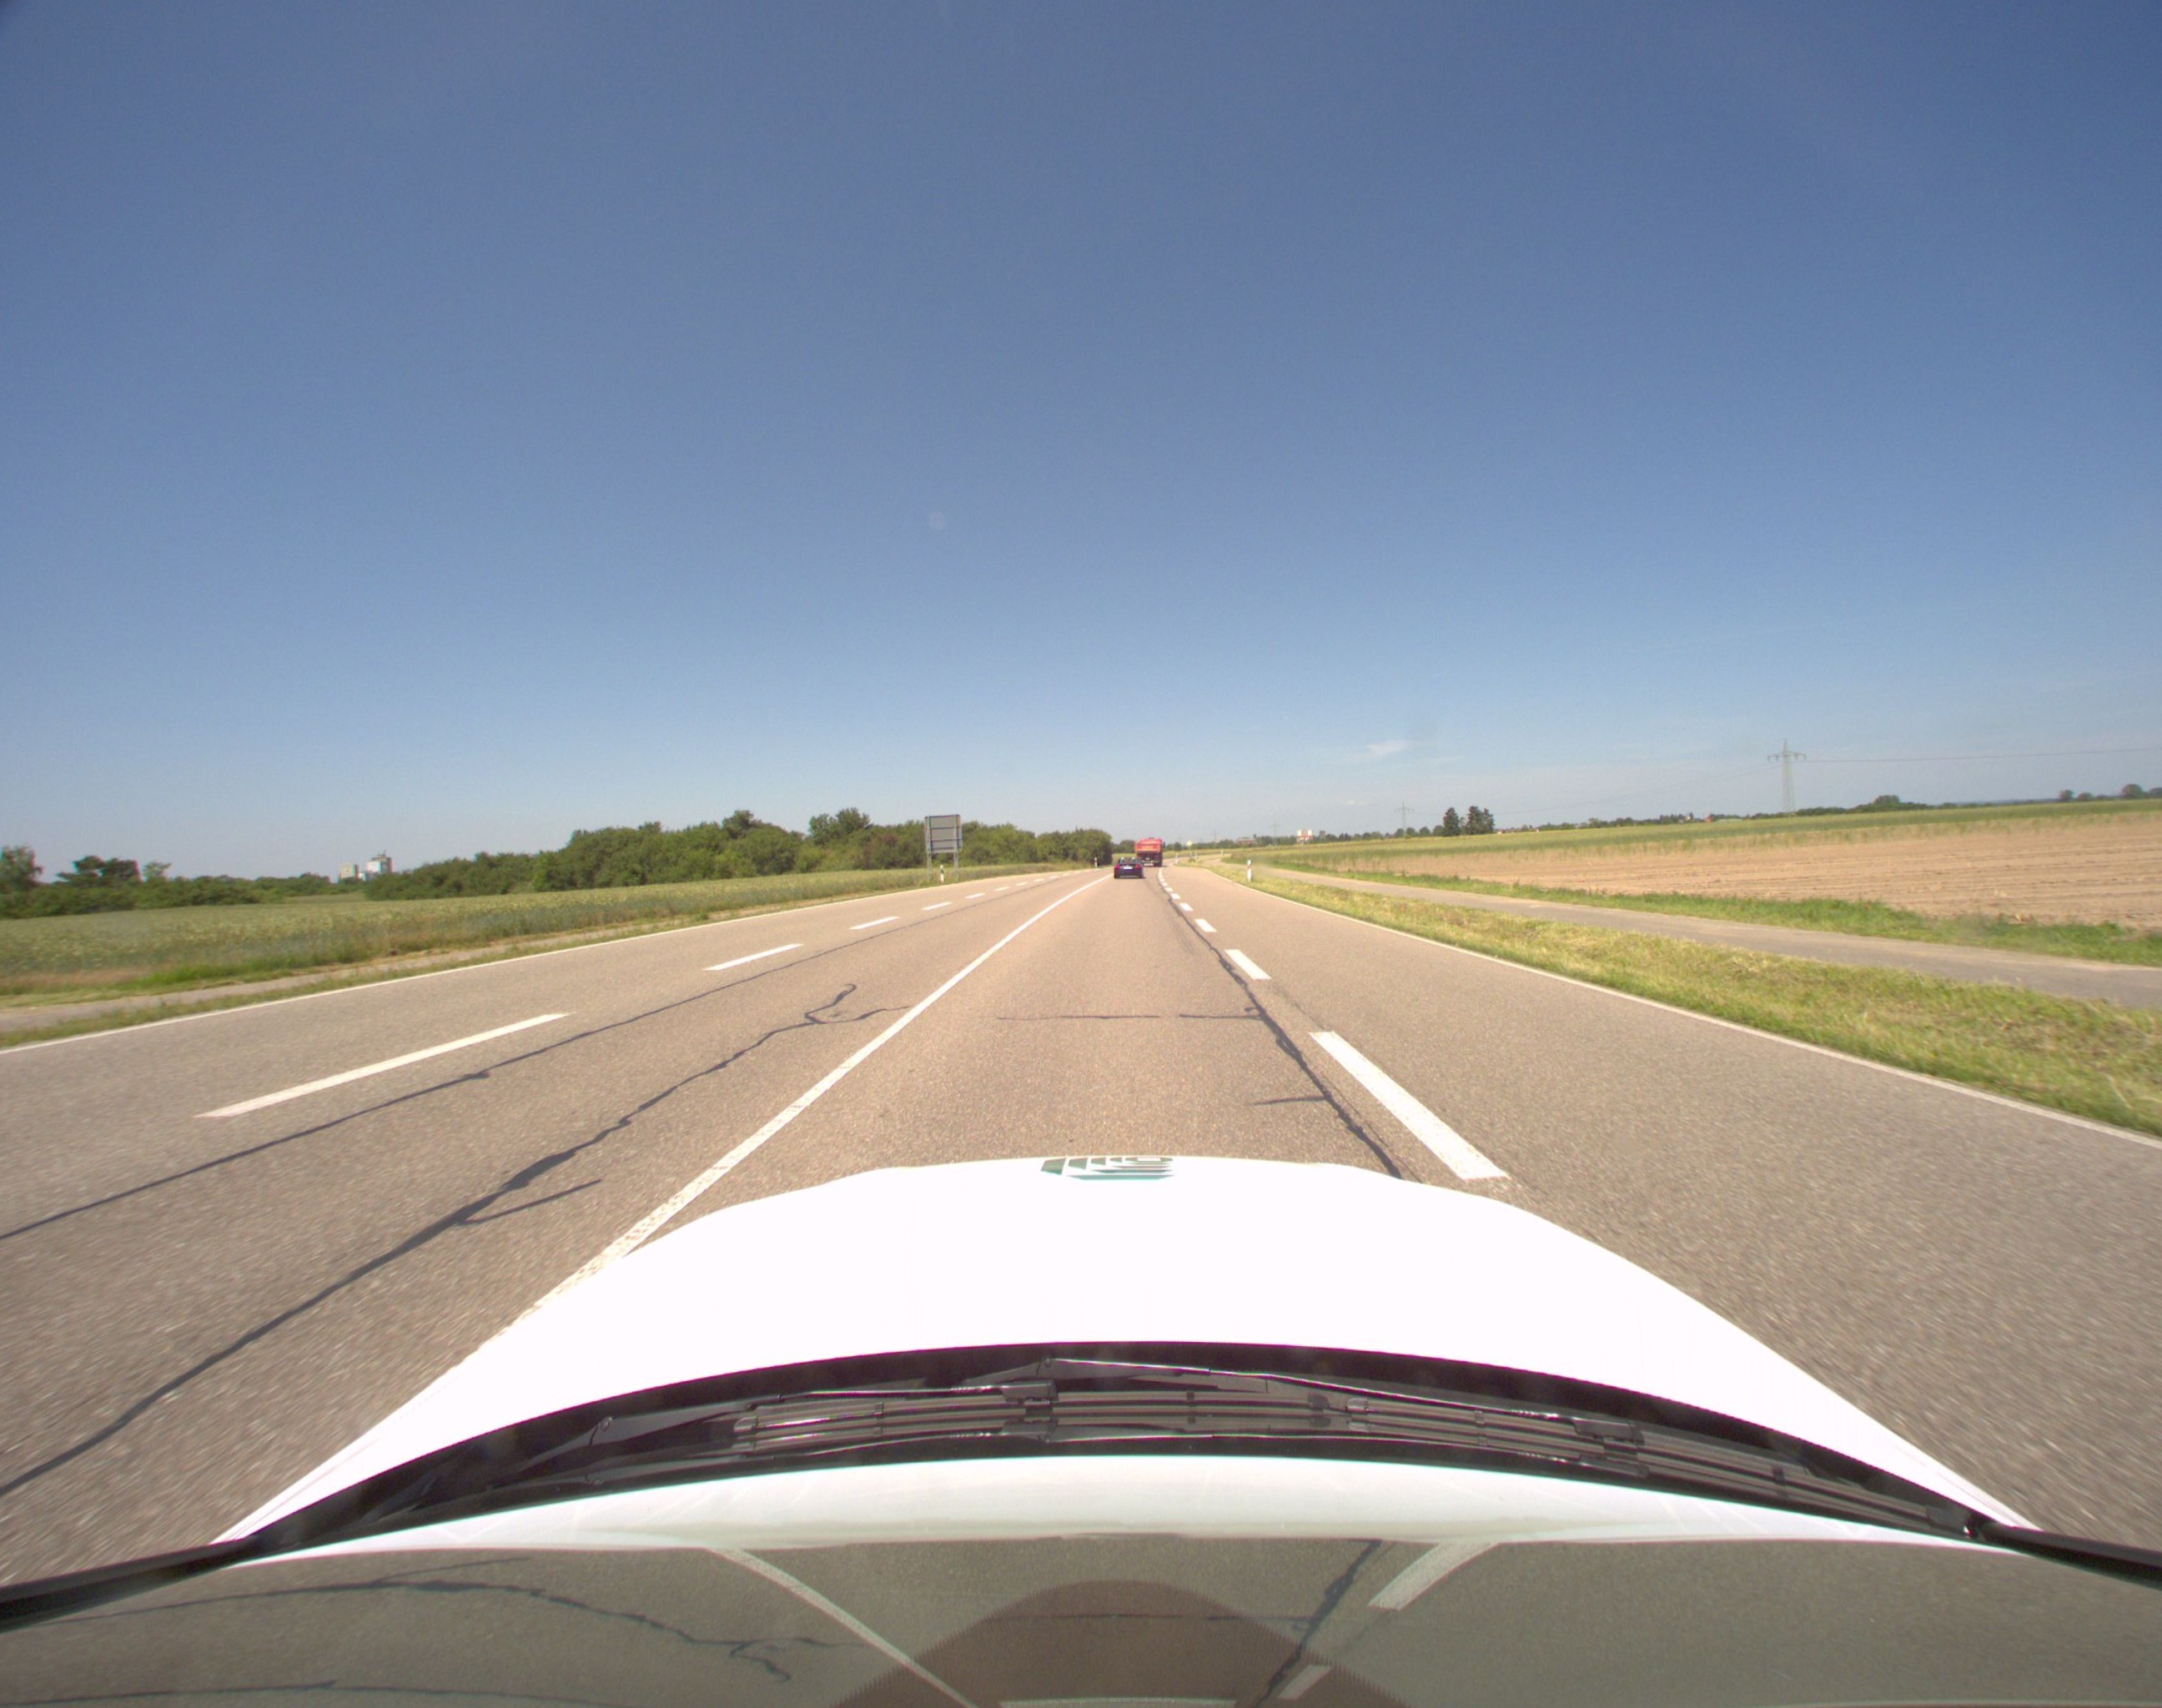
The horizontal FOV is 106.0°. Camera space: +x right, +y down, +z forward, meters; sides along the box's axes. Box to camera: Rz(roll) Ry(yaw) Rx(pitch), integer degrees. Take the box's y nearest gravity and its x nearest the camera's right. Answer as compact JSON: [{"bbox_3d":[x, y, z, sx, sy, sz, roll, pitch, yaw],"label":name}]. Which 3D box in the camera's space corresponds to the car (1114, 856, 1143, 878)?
[{"bbox_3d":[2.970,0.791,50.610,1.736,1.280,4.004,-1,0,3],"label":"car"}]

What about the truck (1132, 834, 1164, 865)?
[{"bbox_3d":[7.191,-0.454,86.722,2.922,3.089,7.211,-2,0,7],"label":"truck"}]
